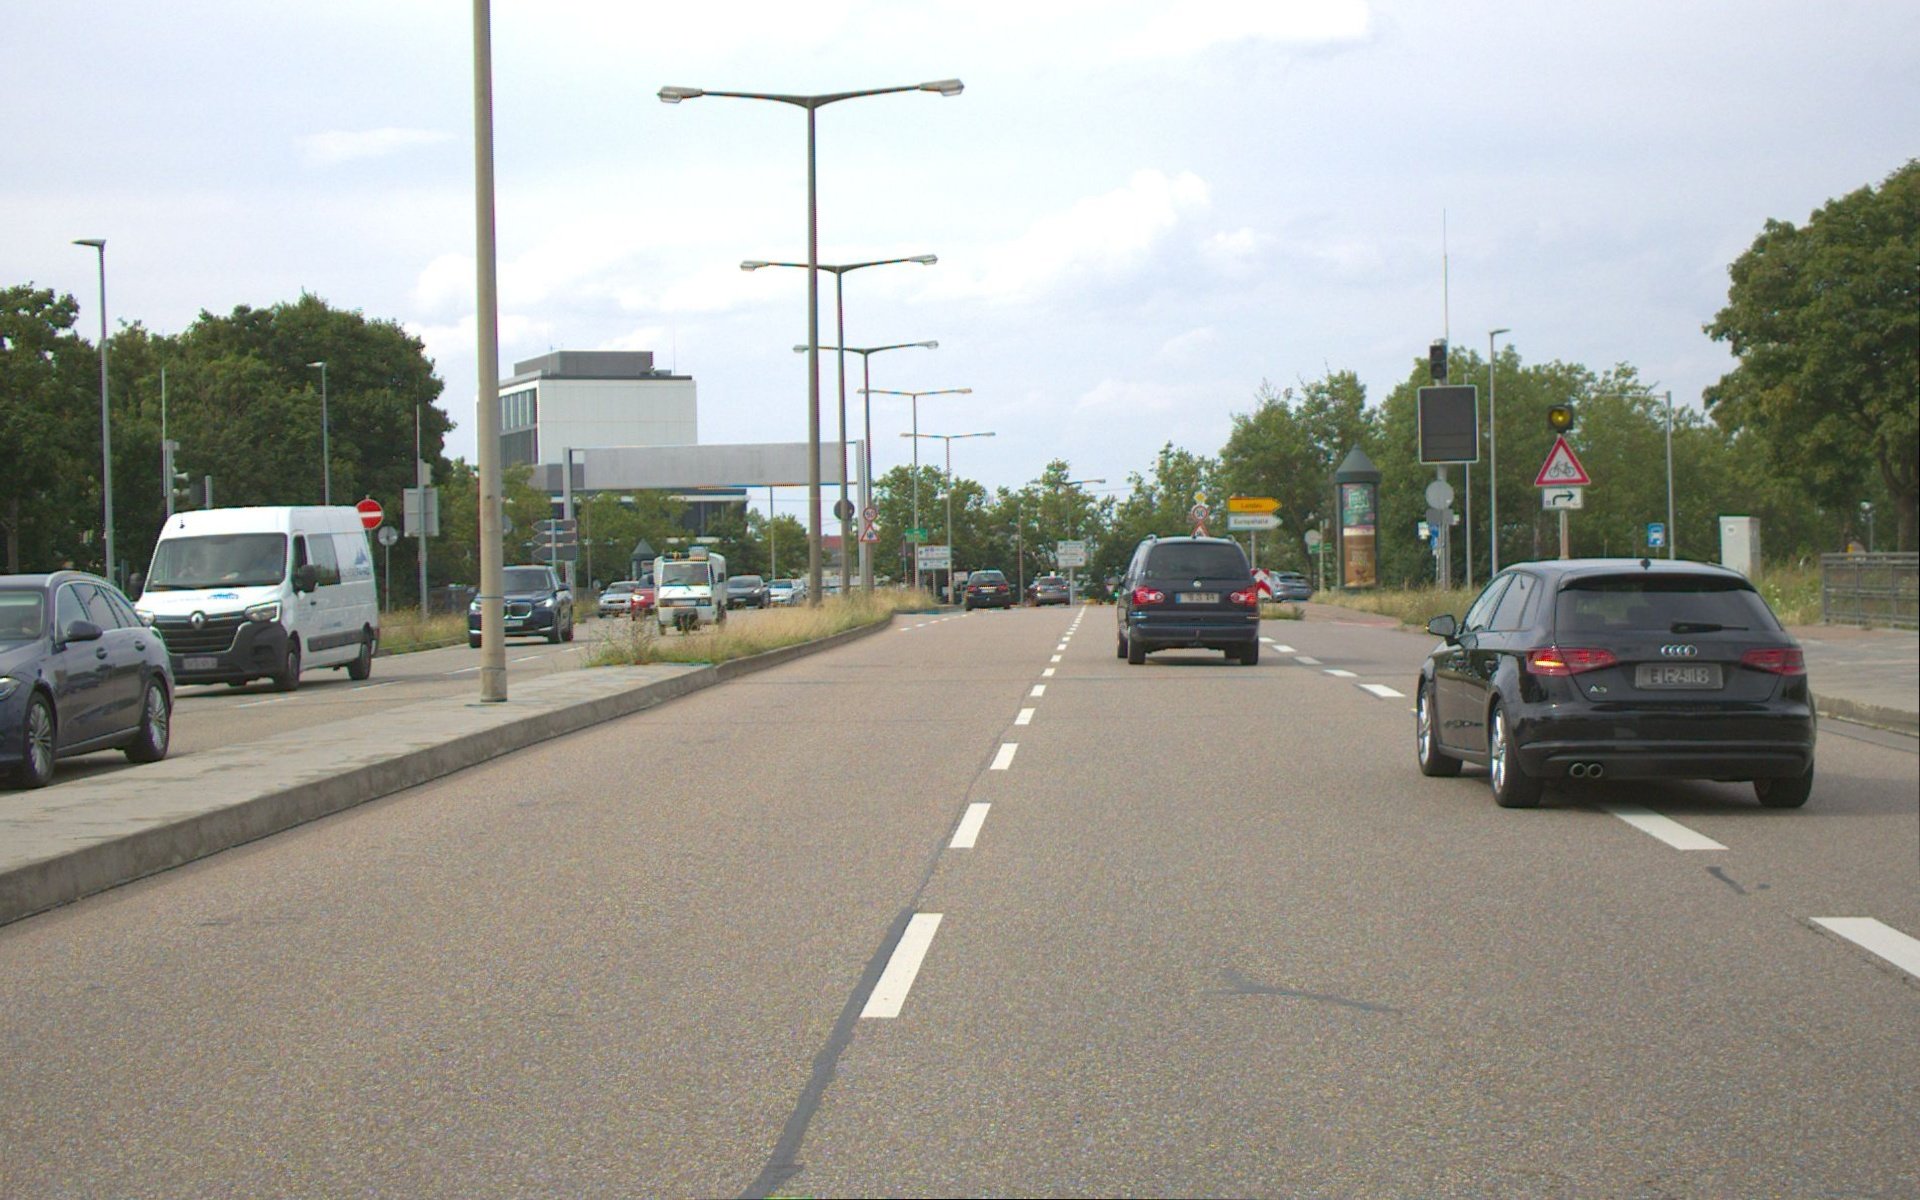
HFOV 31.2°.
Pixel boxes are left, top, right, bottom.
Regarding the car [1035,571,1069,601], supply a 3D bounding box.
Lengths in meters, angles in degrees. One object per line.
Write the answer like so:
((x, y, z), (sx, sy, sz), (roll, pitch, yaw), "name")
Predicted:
((4.776, -0.741, 177.886), (1.730, 1.521, 4.115), (0, 1, 1), "car")

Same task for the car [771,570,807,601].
((-9.298, -0.817, 186.909), (1.745, 1.593, 4.565), (-2, 1, -1), "car")

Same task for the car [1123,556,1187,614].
((5.650, -0.451, 100.014), (1.730, 1.647, 4.115), (0, 1, 1), "car")

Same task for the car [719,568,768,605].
((-9.230, -0.577, 146.982), (1.745, 1.470, 4.565), (-2, 1, 0), "car")

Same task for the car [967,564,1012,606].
((1.203, -0.614, 139.024), (1.730, 1.647, 4.115), (0, 1, 1), "car")

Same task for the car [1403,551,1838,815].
((3.793, 0.420, 20.410), (1.730, 1.390, 4.115), (-1, 1, -1), "car")

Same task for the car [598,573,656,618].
((-13.491, -0.201, 139.357), (1.993, 1.744, 4.000), (0, 1, 0), "car")

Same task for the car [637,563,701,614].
((-9.753, -0.415, 115.446), (1.651, 1.569, 4.338), (-3, 1, 0), "car")

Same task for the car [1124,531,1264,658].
((3.157, -0.094, 47.033), (1.730, 1.647, 4.115), (0, 1, 1), "car")

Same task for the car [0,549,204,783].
((-6.806, 0.437, 24.089), (1.738, 1.475, 4.776), (-3, 0, 2), "car")

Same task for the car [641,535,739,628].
((-5.787, -0.424, 73.935), (1.540, 1.864, 3.570), (-3, 1, 3), "car")

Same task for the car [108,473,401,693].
((-9.284, -0.291, 45.869), (2.053, 2.634, 6.399), (-3, 1, 4), "car")

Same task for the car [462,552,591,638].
((-8.896, -0.127, 70.858), (1.747, 1.580, 4.586), (-3, 1, 3), "car")
